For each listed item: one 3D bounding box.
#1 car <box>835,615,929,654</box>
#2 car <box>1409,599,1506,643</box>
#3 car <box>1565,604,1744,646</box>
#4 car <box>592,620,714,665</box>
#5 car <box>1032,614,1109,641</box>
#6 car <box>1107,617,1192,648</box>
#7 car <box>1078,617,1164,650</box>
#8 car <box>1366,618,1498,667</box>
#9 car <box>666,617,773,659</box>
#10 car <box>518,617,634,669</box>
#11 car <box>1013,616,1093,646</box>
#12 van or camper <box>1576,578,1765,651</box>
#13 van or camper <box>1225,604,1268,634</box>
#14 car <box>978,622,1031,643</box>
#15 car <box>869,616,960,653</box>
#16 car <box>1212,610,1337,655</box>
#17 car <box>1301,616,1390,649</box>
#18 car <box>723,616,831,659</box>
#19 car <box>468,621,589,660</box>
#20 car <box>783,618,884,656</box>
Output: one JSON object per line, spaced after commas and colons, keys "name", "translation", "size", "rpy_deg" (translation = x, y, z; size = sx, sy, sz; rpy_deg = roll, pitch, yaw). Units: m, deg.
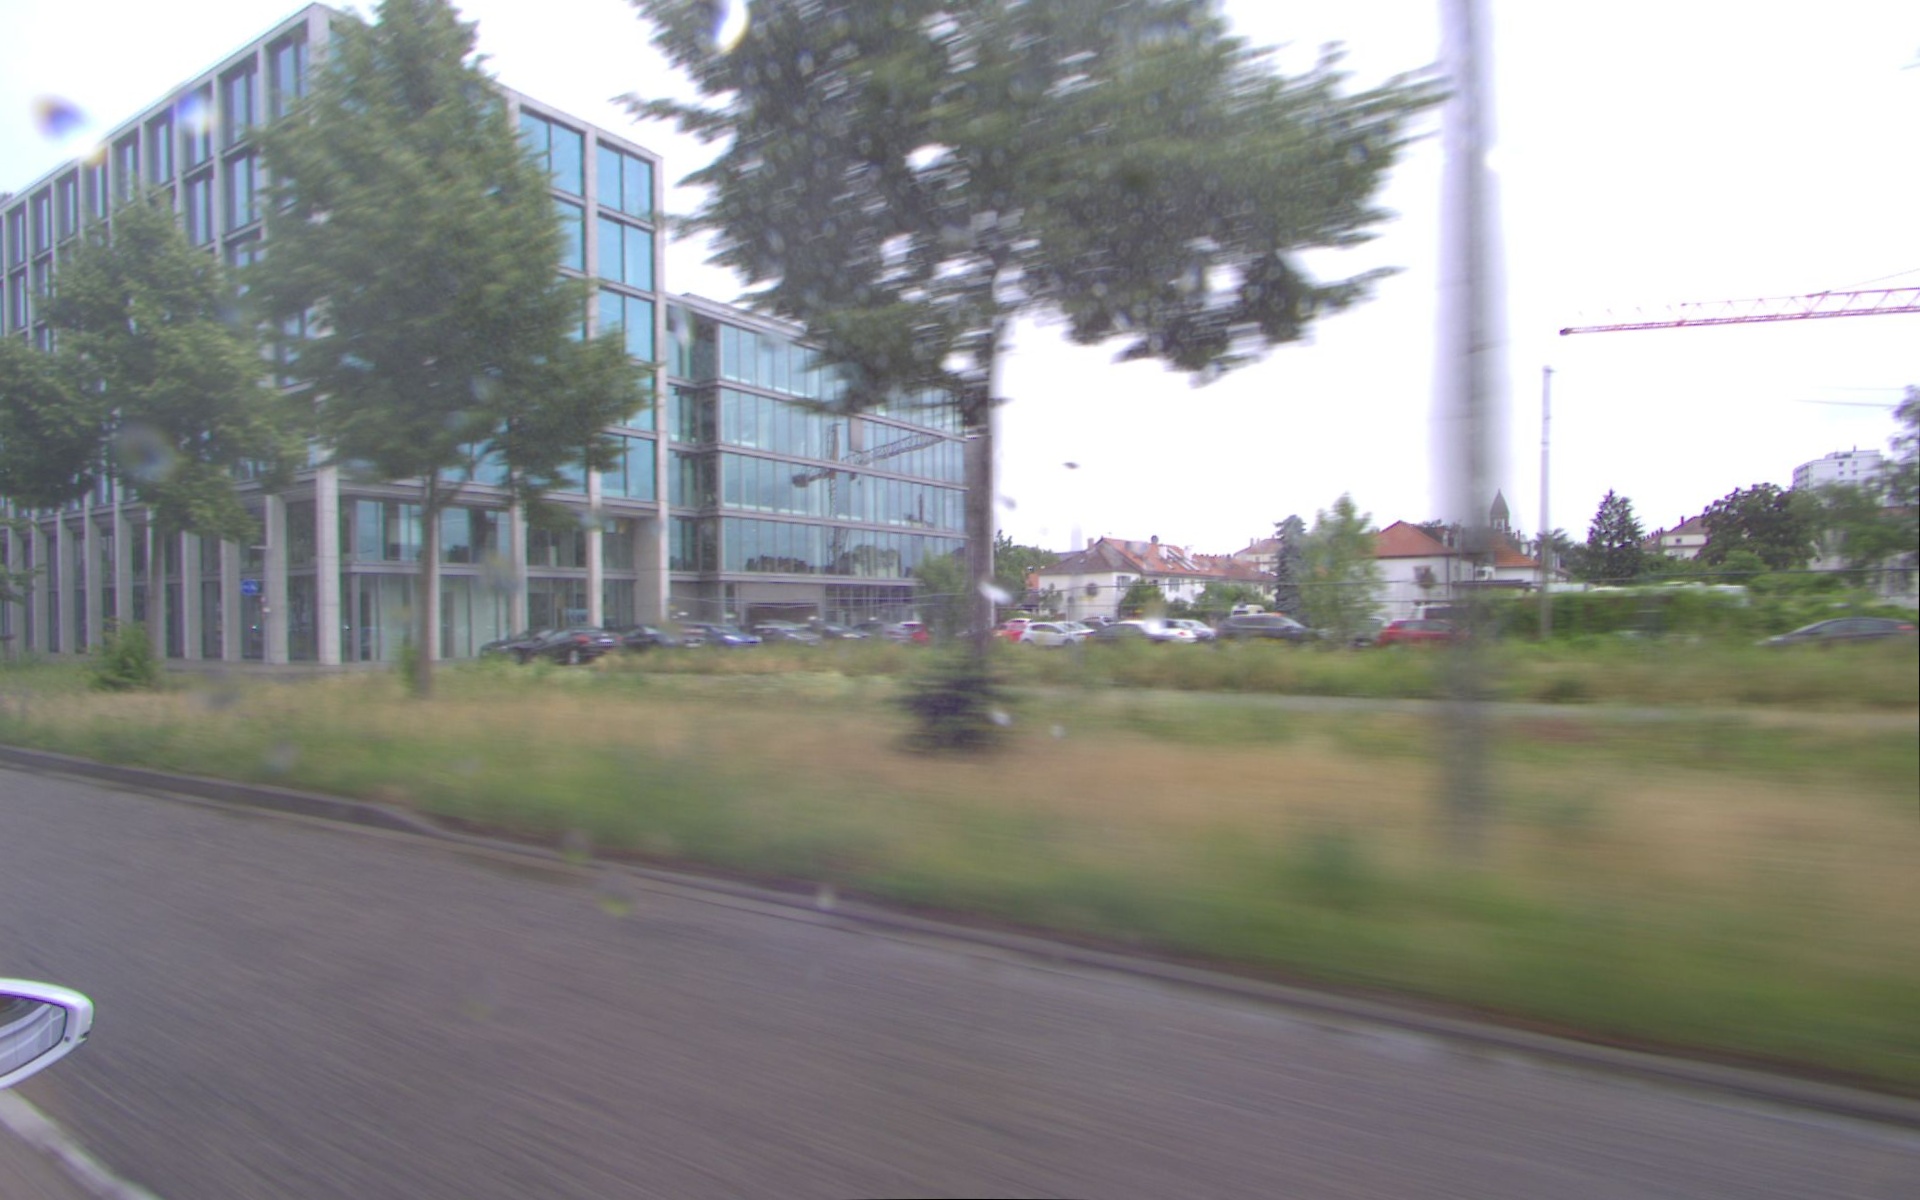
{"name": "car", "translation": [-3.465, 1.479, 44.158], "size": [3.949, 1.622, 1.848], "rpy_deg": [-1, -1, 37]}
{"name": "car", "translation": [24.231, 1.018, 48.794], "size": [4.105, 2.032, 1.692], "rpy_deg": [-1, 0, 33]}
{"name": "car", "translation": [28.596, 1.034, 41.488], "size": [5.559, 1.664, 2.482], "rpy_deg": [0, -1, 14]}
{"name": "car", "translation": [-10.799, 1.453, 35.092], "size": [4.499, 1.474, 1.848], "rpy_deg": [-1, -1, 37]}
{"name": "car", "translation": [6.328, 1.544, 57.278], "size": [3.971, 1.516, 1.853], "rpy_deg": [-1, -1, 29]}
{"name": "car", "translation": [9.982, 1.732, 52.851], "size": [3.982, 1.369, 1.691], "rpy_deg": [-5, -4, 35]}
{"name": "car", "translation": [8.222, 1.719, 51.318], "size": [3.978, 1.463, 1.693], "rpy_deg": [-5, -4, 33]}
{"name": "car", "translation": [16.675, 1.467, 35.415], "size": [3.949, 1.622, 1.849], "rpy_deg": [-1, -1, 37]}
{"name": "car", "translation": [-9.038, 1.389, 37.504], "size": [3.949, 1.474, 1.849], "rpy_deg": [-1, -1, 37]}
{"name": "car", "translation": [-12.697, 1.366, 33.019], "size": [3.951, 1.601, 1.847], "rpy_deg": [-1, -1, 39]}
{"name": "car", "translation": [5.091, 1.731, 55.022], "size": [3.975, 1.369, 1.694], "rpy_deg": [-5, -3, 31]}
{"name": "van or camper", "translation": [31.518, 0.665, 44.801], "size": [6.679, 3.033, 2.901], "rpy_deg": [-1, -1, 32]}
{"name": "van or camper", "translation": [25.887, 1.746, 90.317], "size": [2.065, 2.617, 5.598], "rpy_deg": [0, -1, 35]}
{"name": "car", "translation": [3.156, 2.255, 70.038], "size": [1.837, 1.434, 3.974], "rpy_deg": [-1, -1, 36]}
{"name": "car", "translation": [-2.118, 1.572, 45.995], "size": [3.949, 1.622, 1.848], "rpy_deg": [-1, -1, 37]}
{"name": "car", "translation": [11.891, 1.215, 37.995], "size": [4.179, 1.622, 1.849], "rpy_deg": [-1, -1, 37]}
{"name": "car", "translation": [19.537, 1.611, 50.745], "size": [3.975, 1.602, 1.693], "rpy_deg": [-1, -1, 33]}
{"name": "car", "translation": [-7.391, 1.466, 40.291], "size": [4.359, 1.622, 1.848], "rpy_deg": [-1, -1, 37]}
{"name": "car", "translation": [-17.787, 1.642, 41.425], "size": [1.955, 1.457, 4.205], "rpy_deg": [2, 0, 36]}
{"name": "car", "translation": [-5.349, 1.516, 42.019], "size": [4.176, 1.494, 1.779], "rpy_deg": [-1, -1, 37]}
